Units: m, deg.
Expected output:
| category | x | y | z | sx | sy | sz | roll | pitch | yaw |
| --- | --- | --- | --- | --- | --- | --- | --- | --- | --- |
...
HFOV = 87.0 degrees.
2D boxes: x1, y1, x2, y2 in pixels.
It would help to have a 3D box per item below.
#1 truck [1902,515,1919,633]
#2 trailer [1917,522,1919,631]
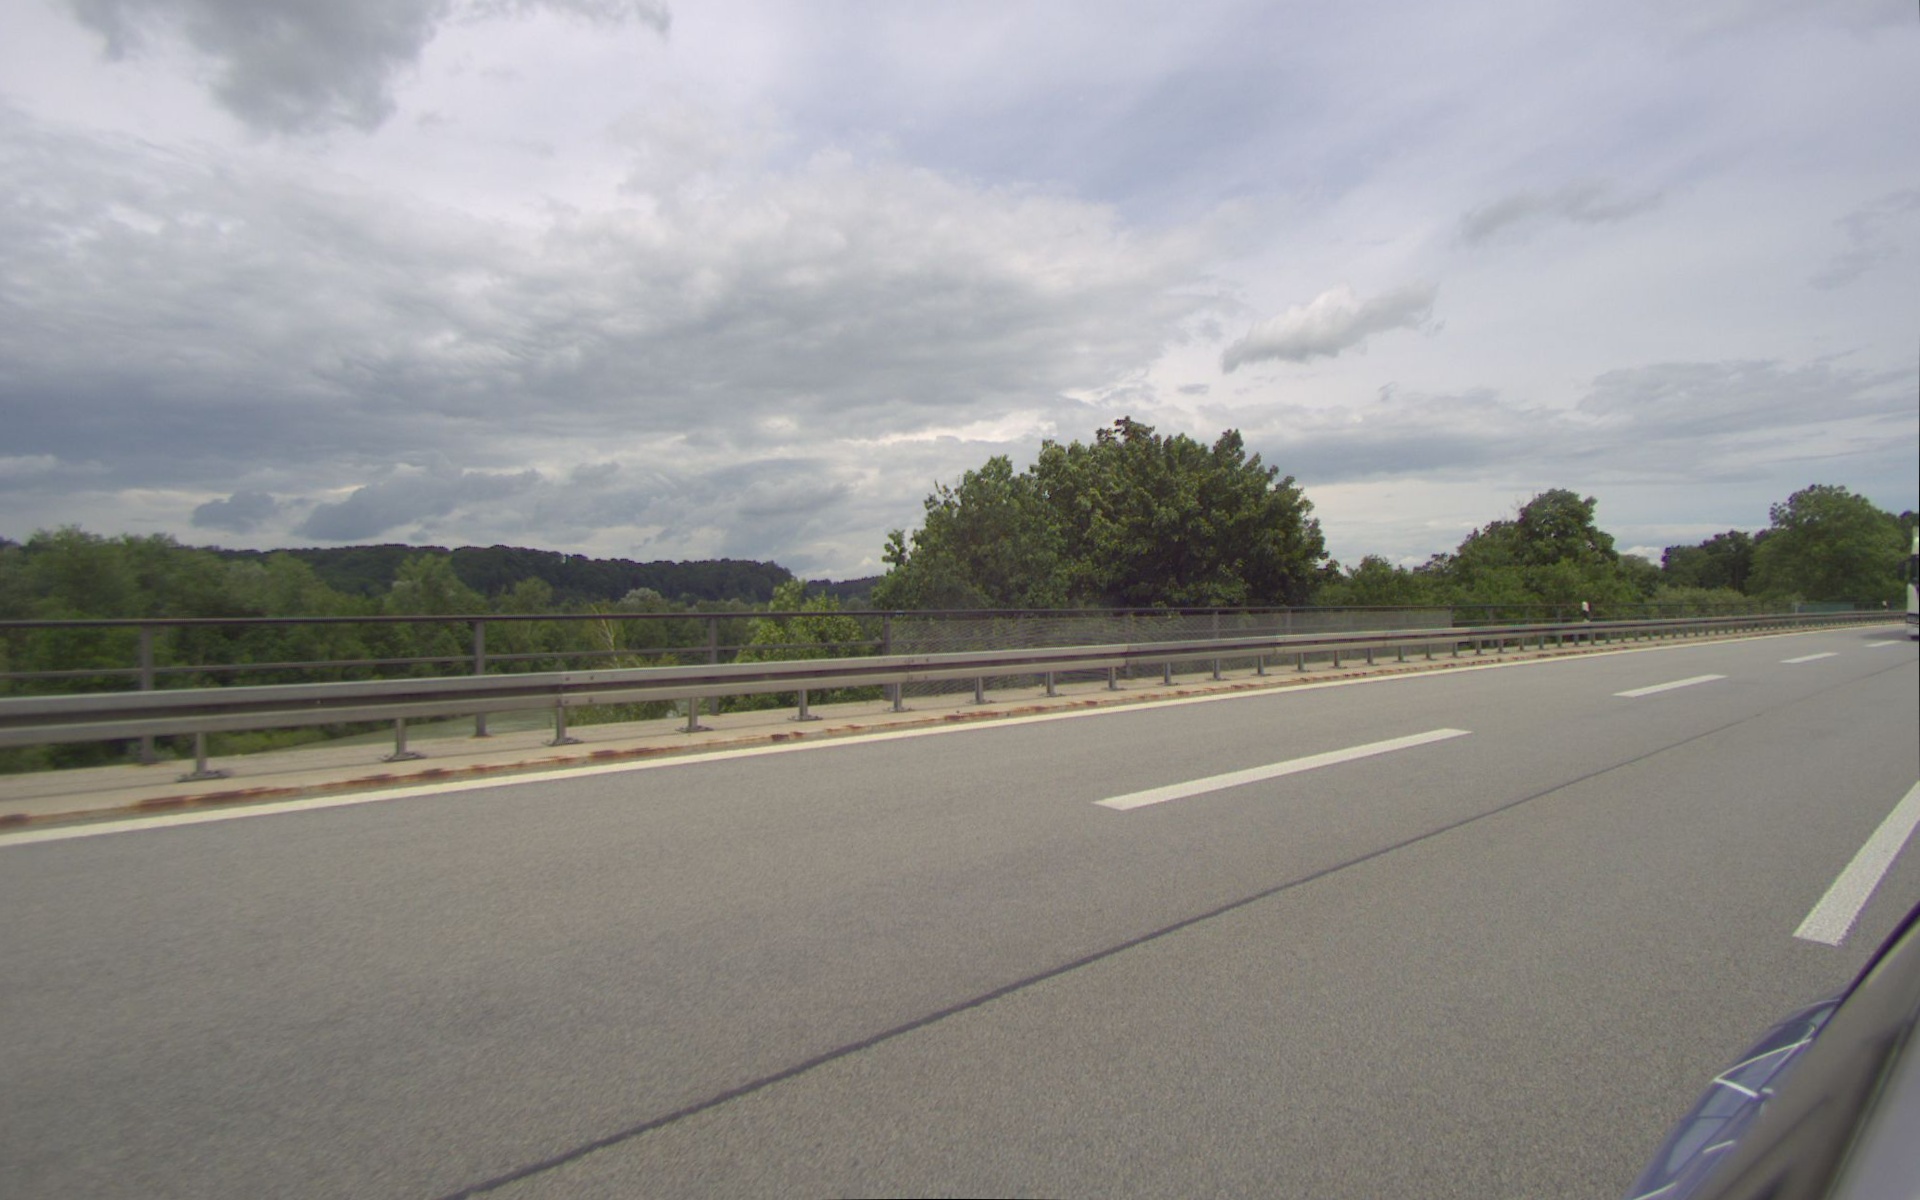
| category | x | y | z | sx | sy | sz | roll | pitch | yaw |
| --- | --- | --- | --- | --- | --- | --- | --- | --- | --- |
| truck | 35.193 | -0.867 | 35.100 | 5.894 | 3.941 | 3.067 | 0 | 0 | -41 |
| trailer | 40.799 | -0.853 | 39.937 | 13.548 | 3.940 | 3.067 | 0 | 0 | -41 |
